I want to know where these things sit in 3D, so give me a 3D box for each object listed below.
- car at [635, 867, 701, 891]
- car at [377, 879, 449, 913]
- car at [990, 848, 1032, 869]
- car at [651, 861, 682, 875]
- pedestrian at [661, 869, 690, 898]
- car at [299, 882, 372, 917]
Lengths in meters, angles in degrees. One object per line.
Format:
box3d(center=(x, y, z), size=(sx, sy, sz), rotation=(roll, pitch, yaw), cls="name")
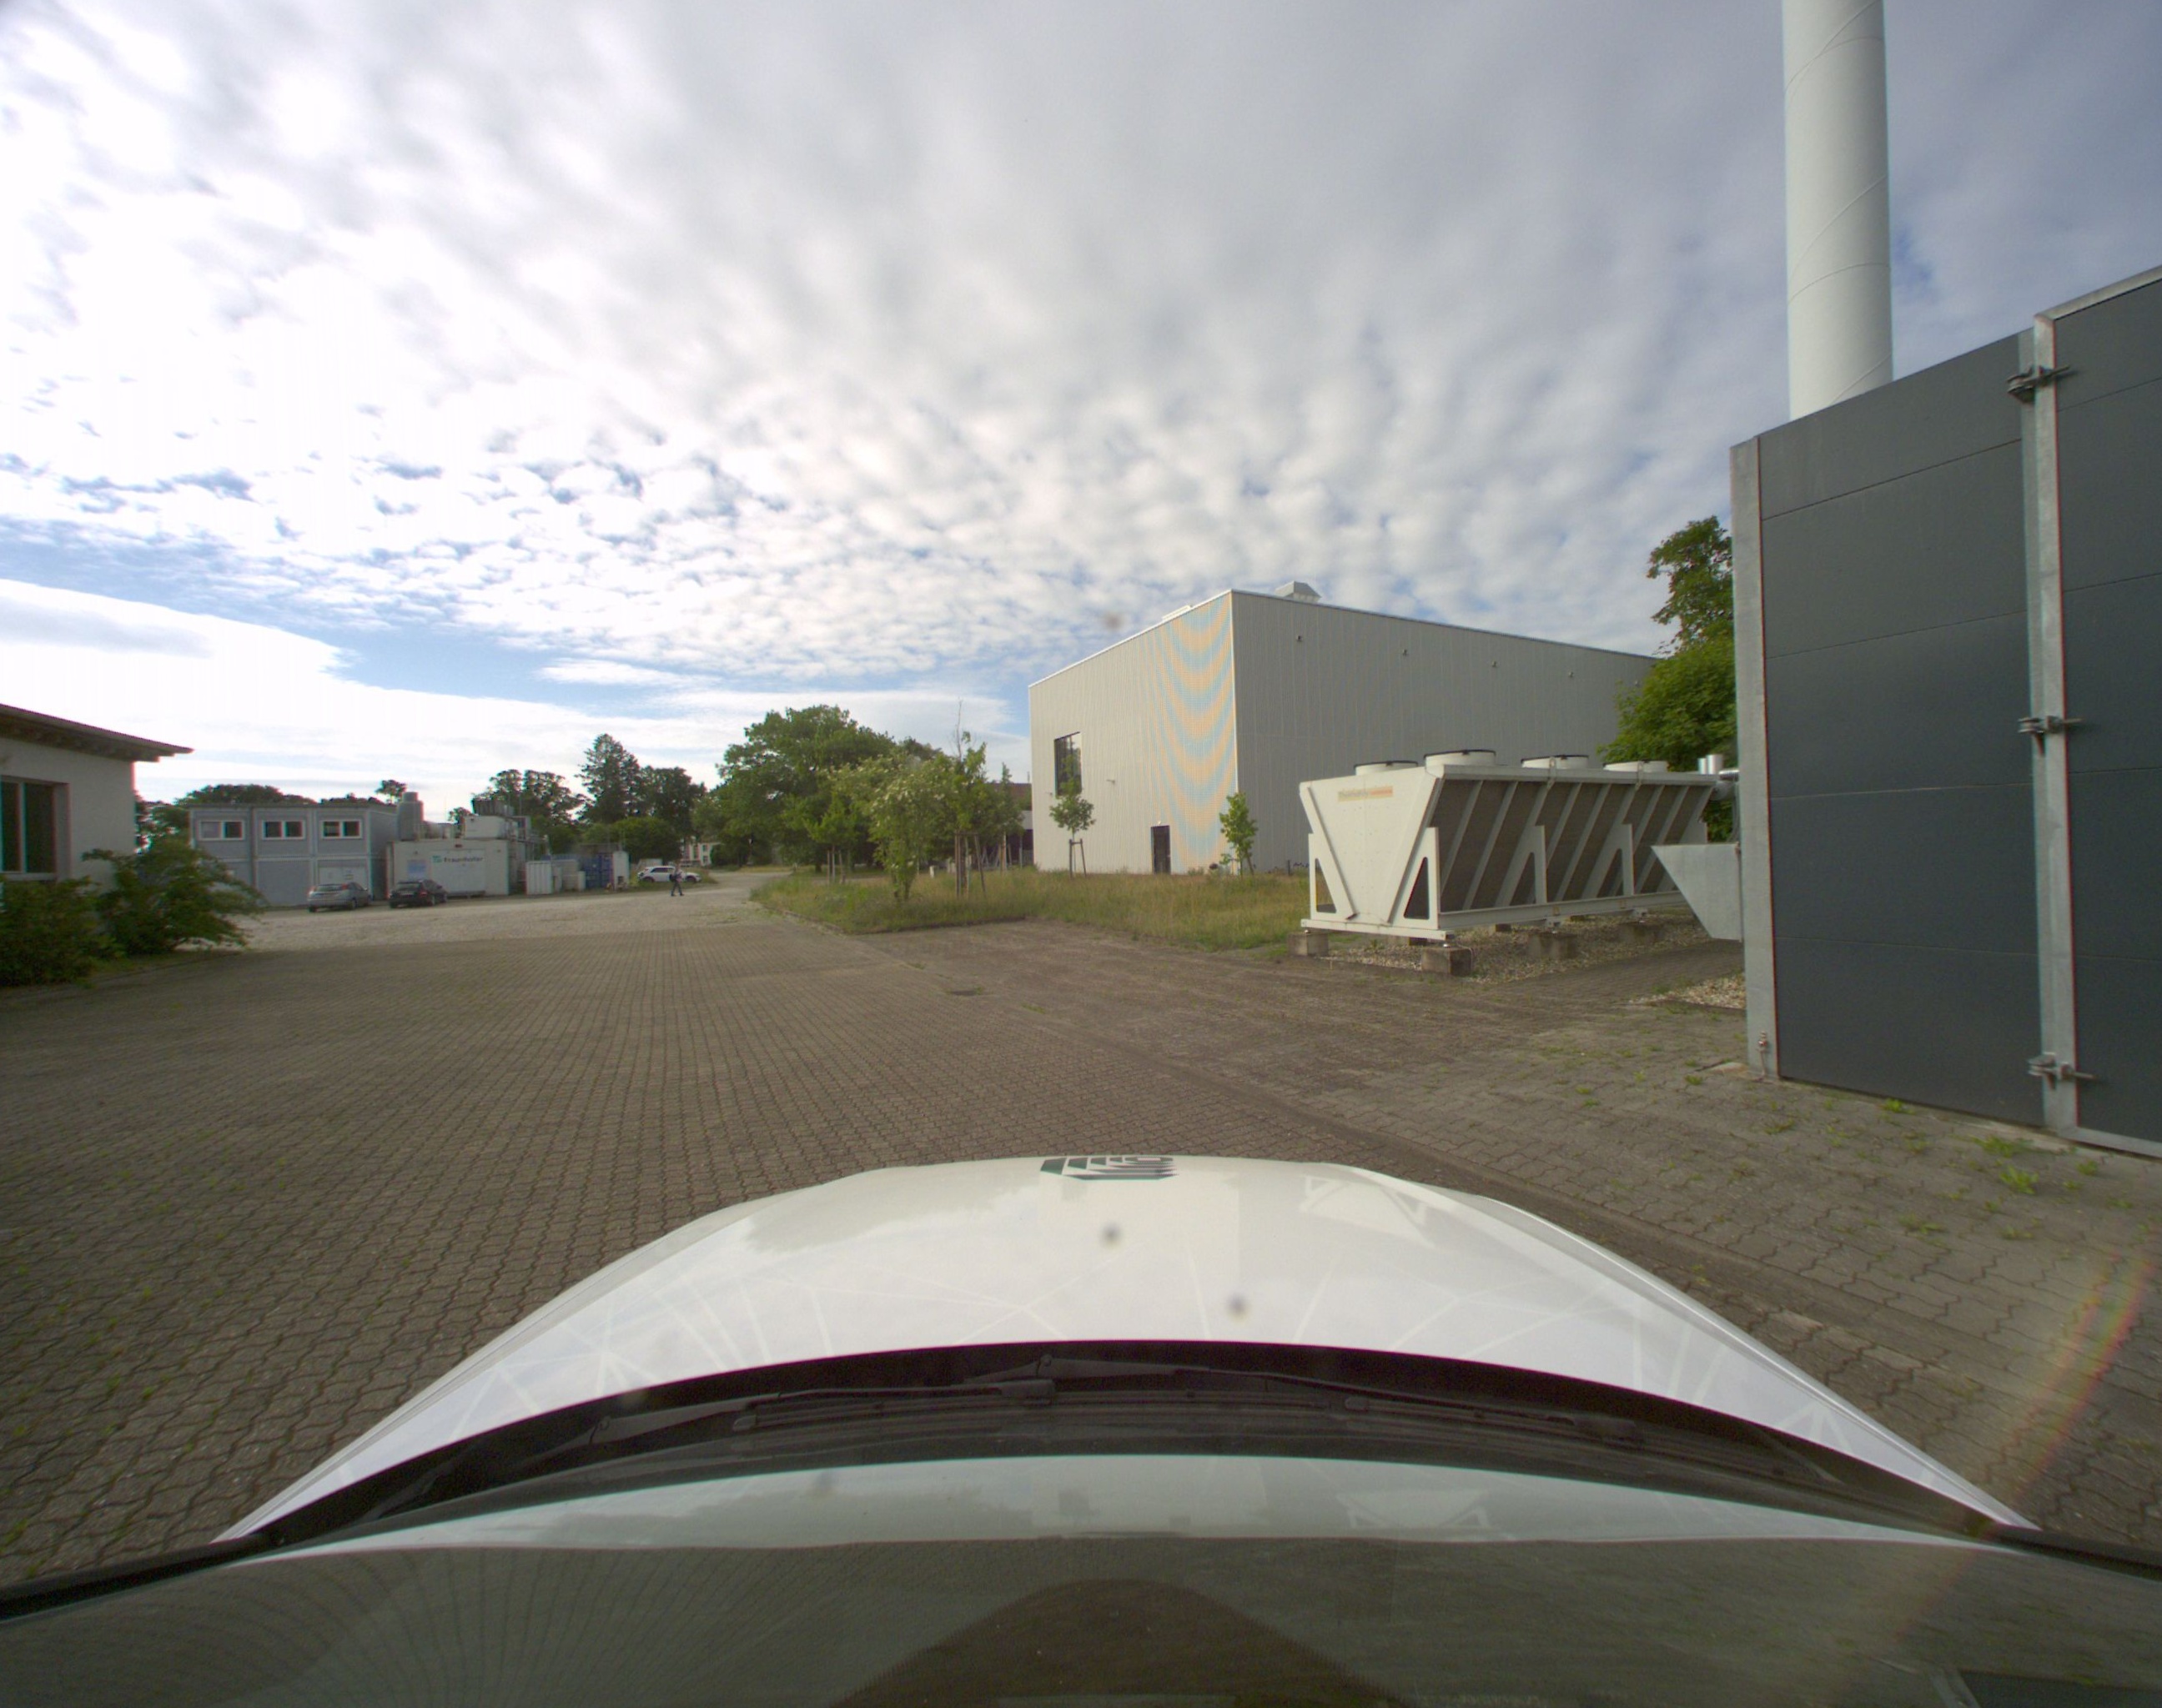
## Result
box3d(center=(-32.931, 1.963, 65.053), size=(4.557, 1.599, 1.983), rotation=(-2, 0, -25), cls="car")
box3d(center=(-36.154, 2.221, 44.205), size=(2.048, 1.453, 4.490), rotation=(-2, 2, -27), cls="car")
box3d(center=(-7.097, 0.495, 81.766), size=(2.255, 2.013, 5.287), rotation=(-2, 0, -28), cls="car")
box3d(center=(-78.748, 2.658, 154.714), size=(5.200, 2.337, 1.982), rotation=(-2, 0, -28), cls="car")
box3d(center=(-22.450, 1.633, 45.129), size=(1.073, 1.556, 1.074), rotation=(-2, 0, -4), cls="pedestrian")
box3d(center=(-39.157, 2.345, 42.890), size=(1.918, 1.475, 4.009), rotation=(-2, 1, -29), cls="car")
